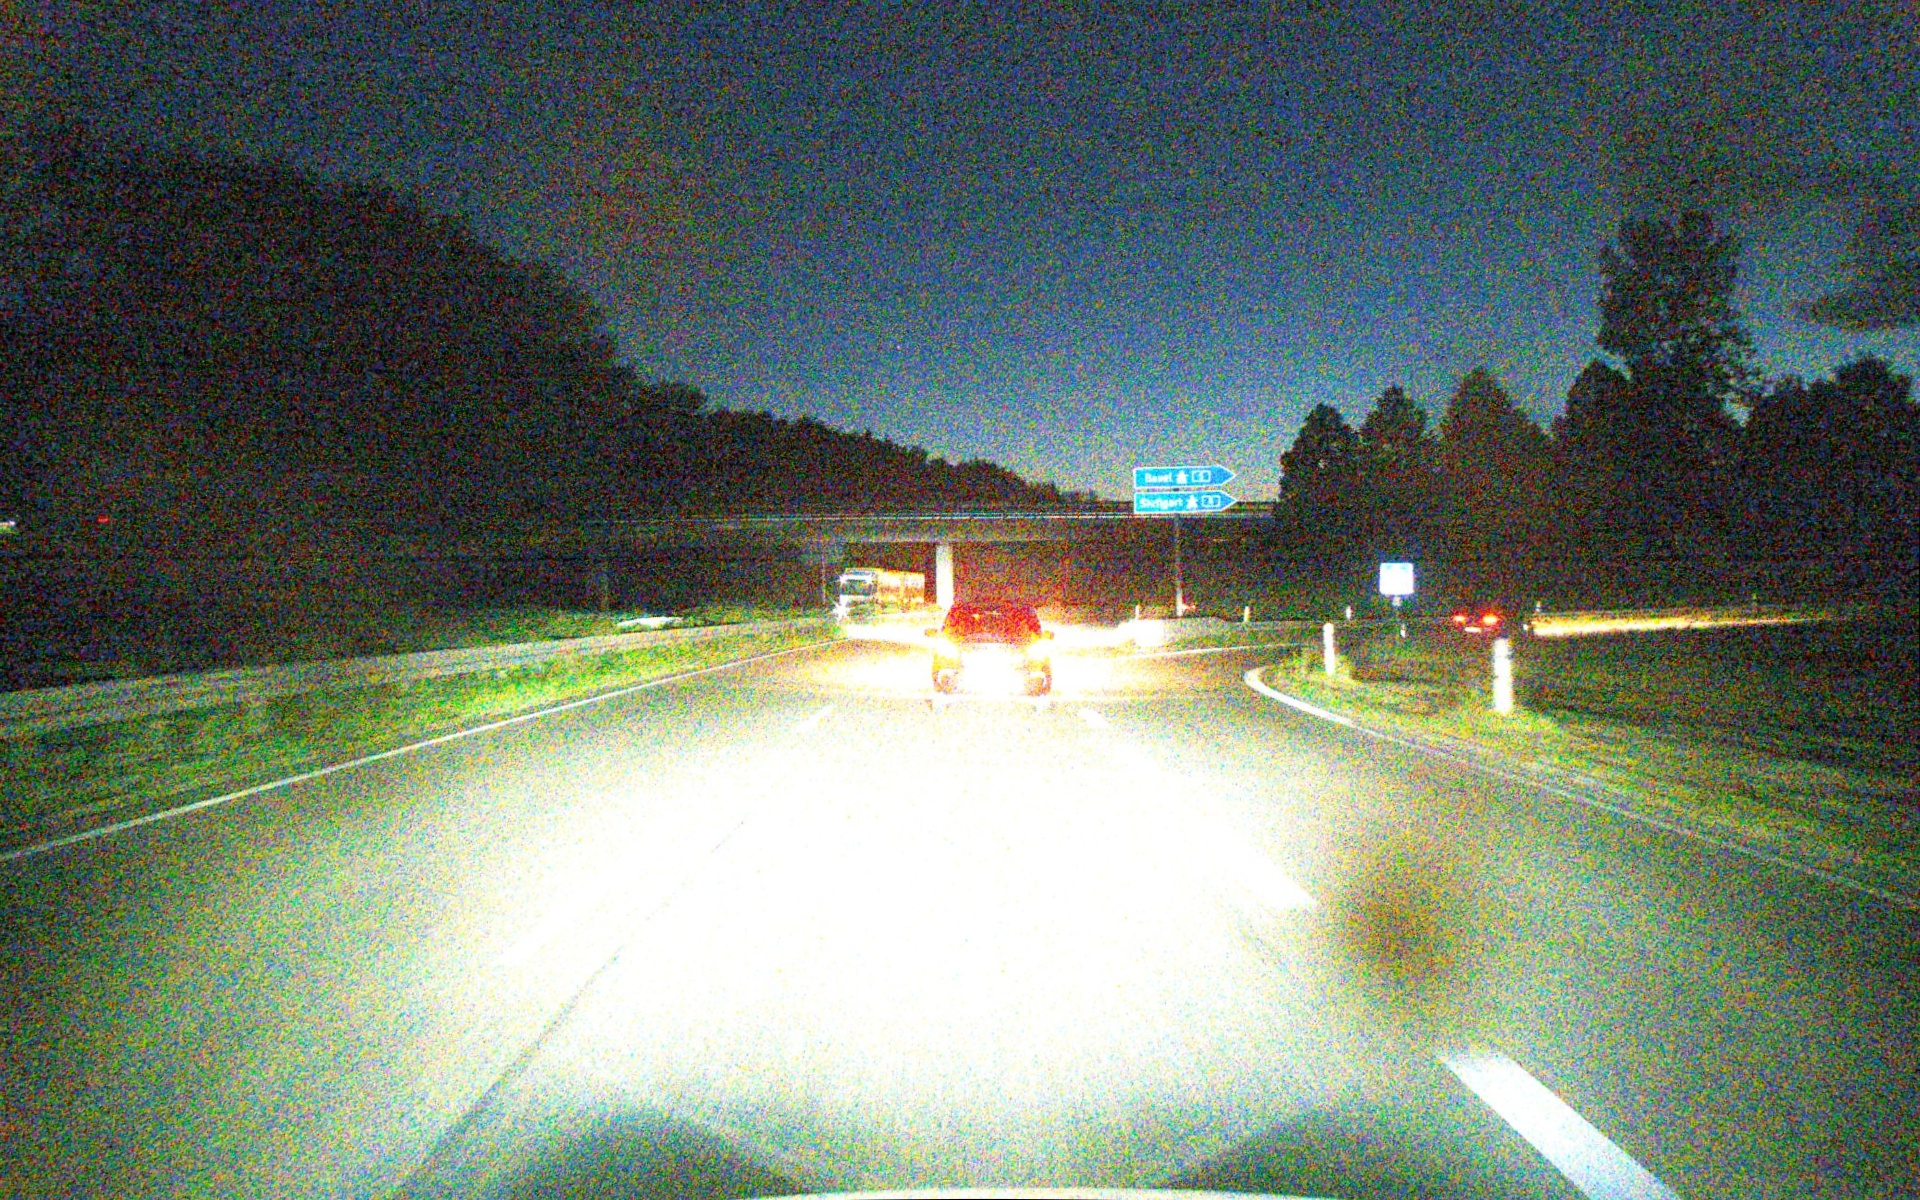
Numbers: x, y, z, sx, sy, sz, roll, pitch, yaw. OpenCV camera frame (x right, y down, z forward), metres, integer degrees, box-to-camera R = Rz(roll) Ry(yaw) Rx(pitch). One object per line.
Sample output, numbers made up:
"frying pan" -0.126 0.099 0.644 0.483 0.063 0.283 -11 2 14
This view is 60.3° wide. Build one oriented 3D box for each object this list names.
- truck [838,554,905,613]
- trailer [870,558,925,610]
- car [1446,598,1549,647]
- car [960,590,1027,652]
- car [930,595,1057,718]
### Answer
"truck" -6.448 -1.189 122.850 2.623 4.115 10.663 -1 0 10
"trailer" -4.935 -1.242 132.515 2.659 4.025 9.055 -1 0 9
"car" 21.410 0.859 65.820 4.221 1.847 1.912 -1 0 -39
"car" 0.988 0.578 48.783 1.867 1.728 4.001 0 0 1
"car" 0.395 0.722 23.266 1.556 1.534 3.999 1 0 -2
